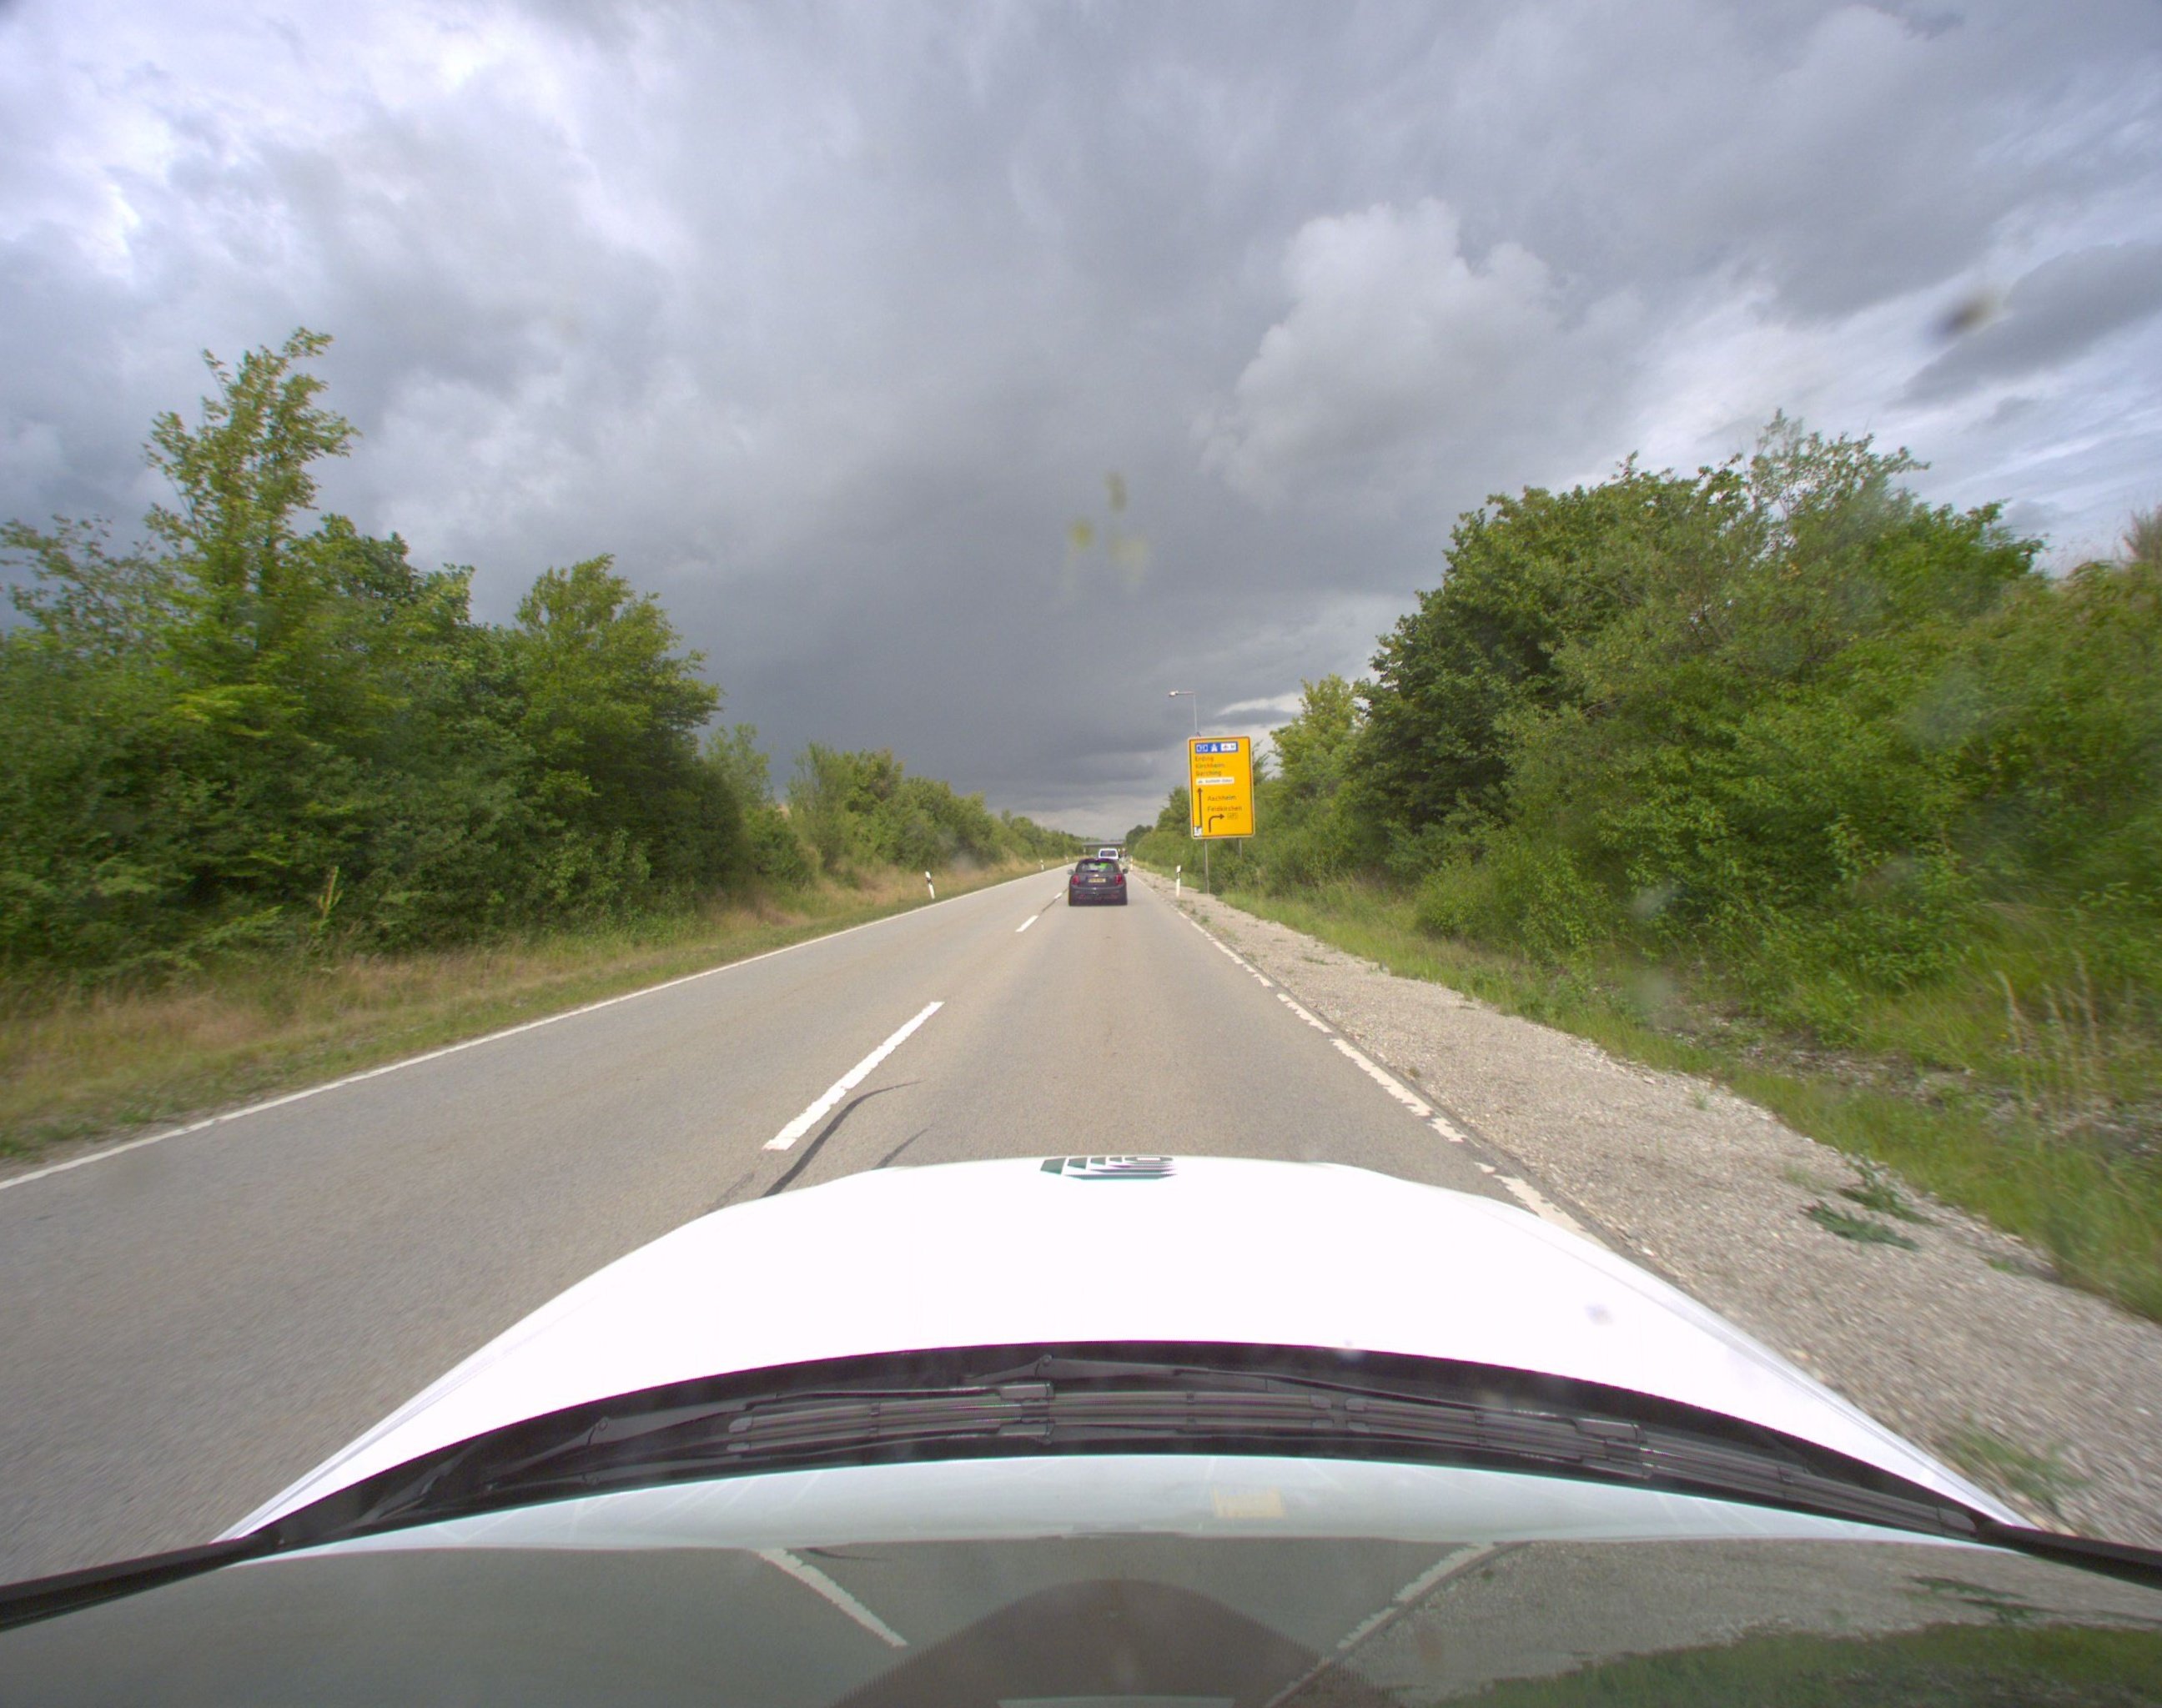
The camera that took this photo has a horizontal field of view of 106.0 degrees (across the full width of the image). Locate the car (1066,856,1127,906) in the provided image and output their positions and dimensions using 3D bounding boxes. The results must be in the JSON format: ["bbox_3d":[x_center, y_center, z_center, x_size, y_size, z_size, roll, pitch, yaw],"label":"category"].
[{"bbox_3d":[0.502,0.770,25.396,1.750,1.427,4.001,0,0,1],"label":"car"}]

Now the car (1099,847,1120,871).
[{"bbox_3d":[2.531,0.480,72.041,1.813,2.054,4.001,0,0,1],"label":"car"}]
